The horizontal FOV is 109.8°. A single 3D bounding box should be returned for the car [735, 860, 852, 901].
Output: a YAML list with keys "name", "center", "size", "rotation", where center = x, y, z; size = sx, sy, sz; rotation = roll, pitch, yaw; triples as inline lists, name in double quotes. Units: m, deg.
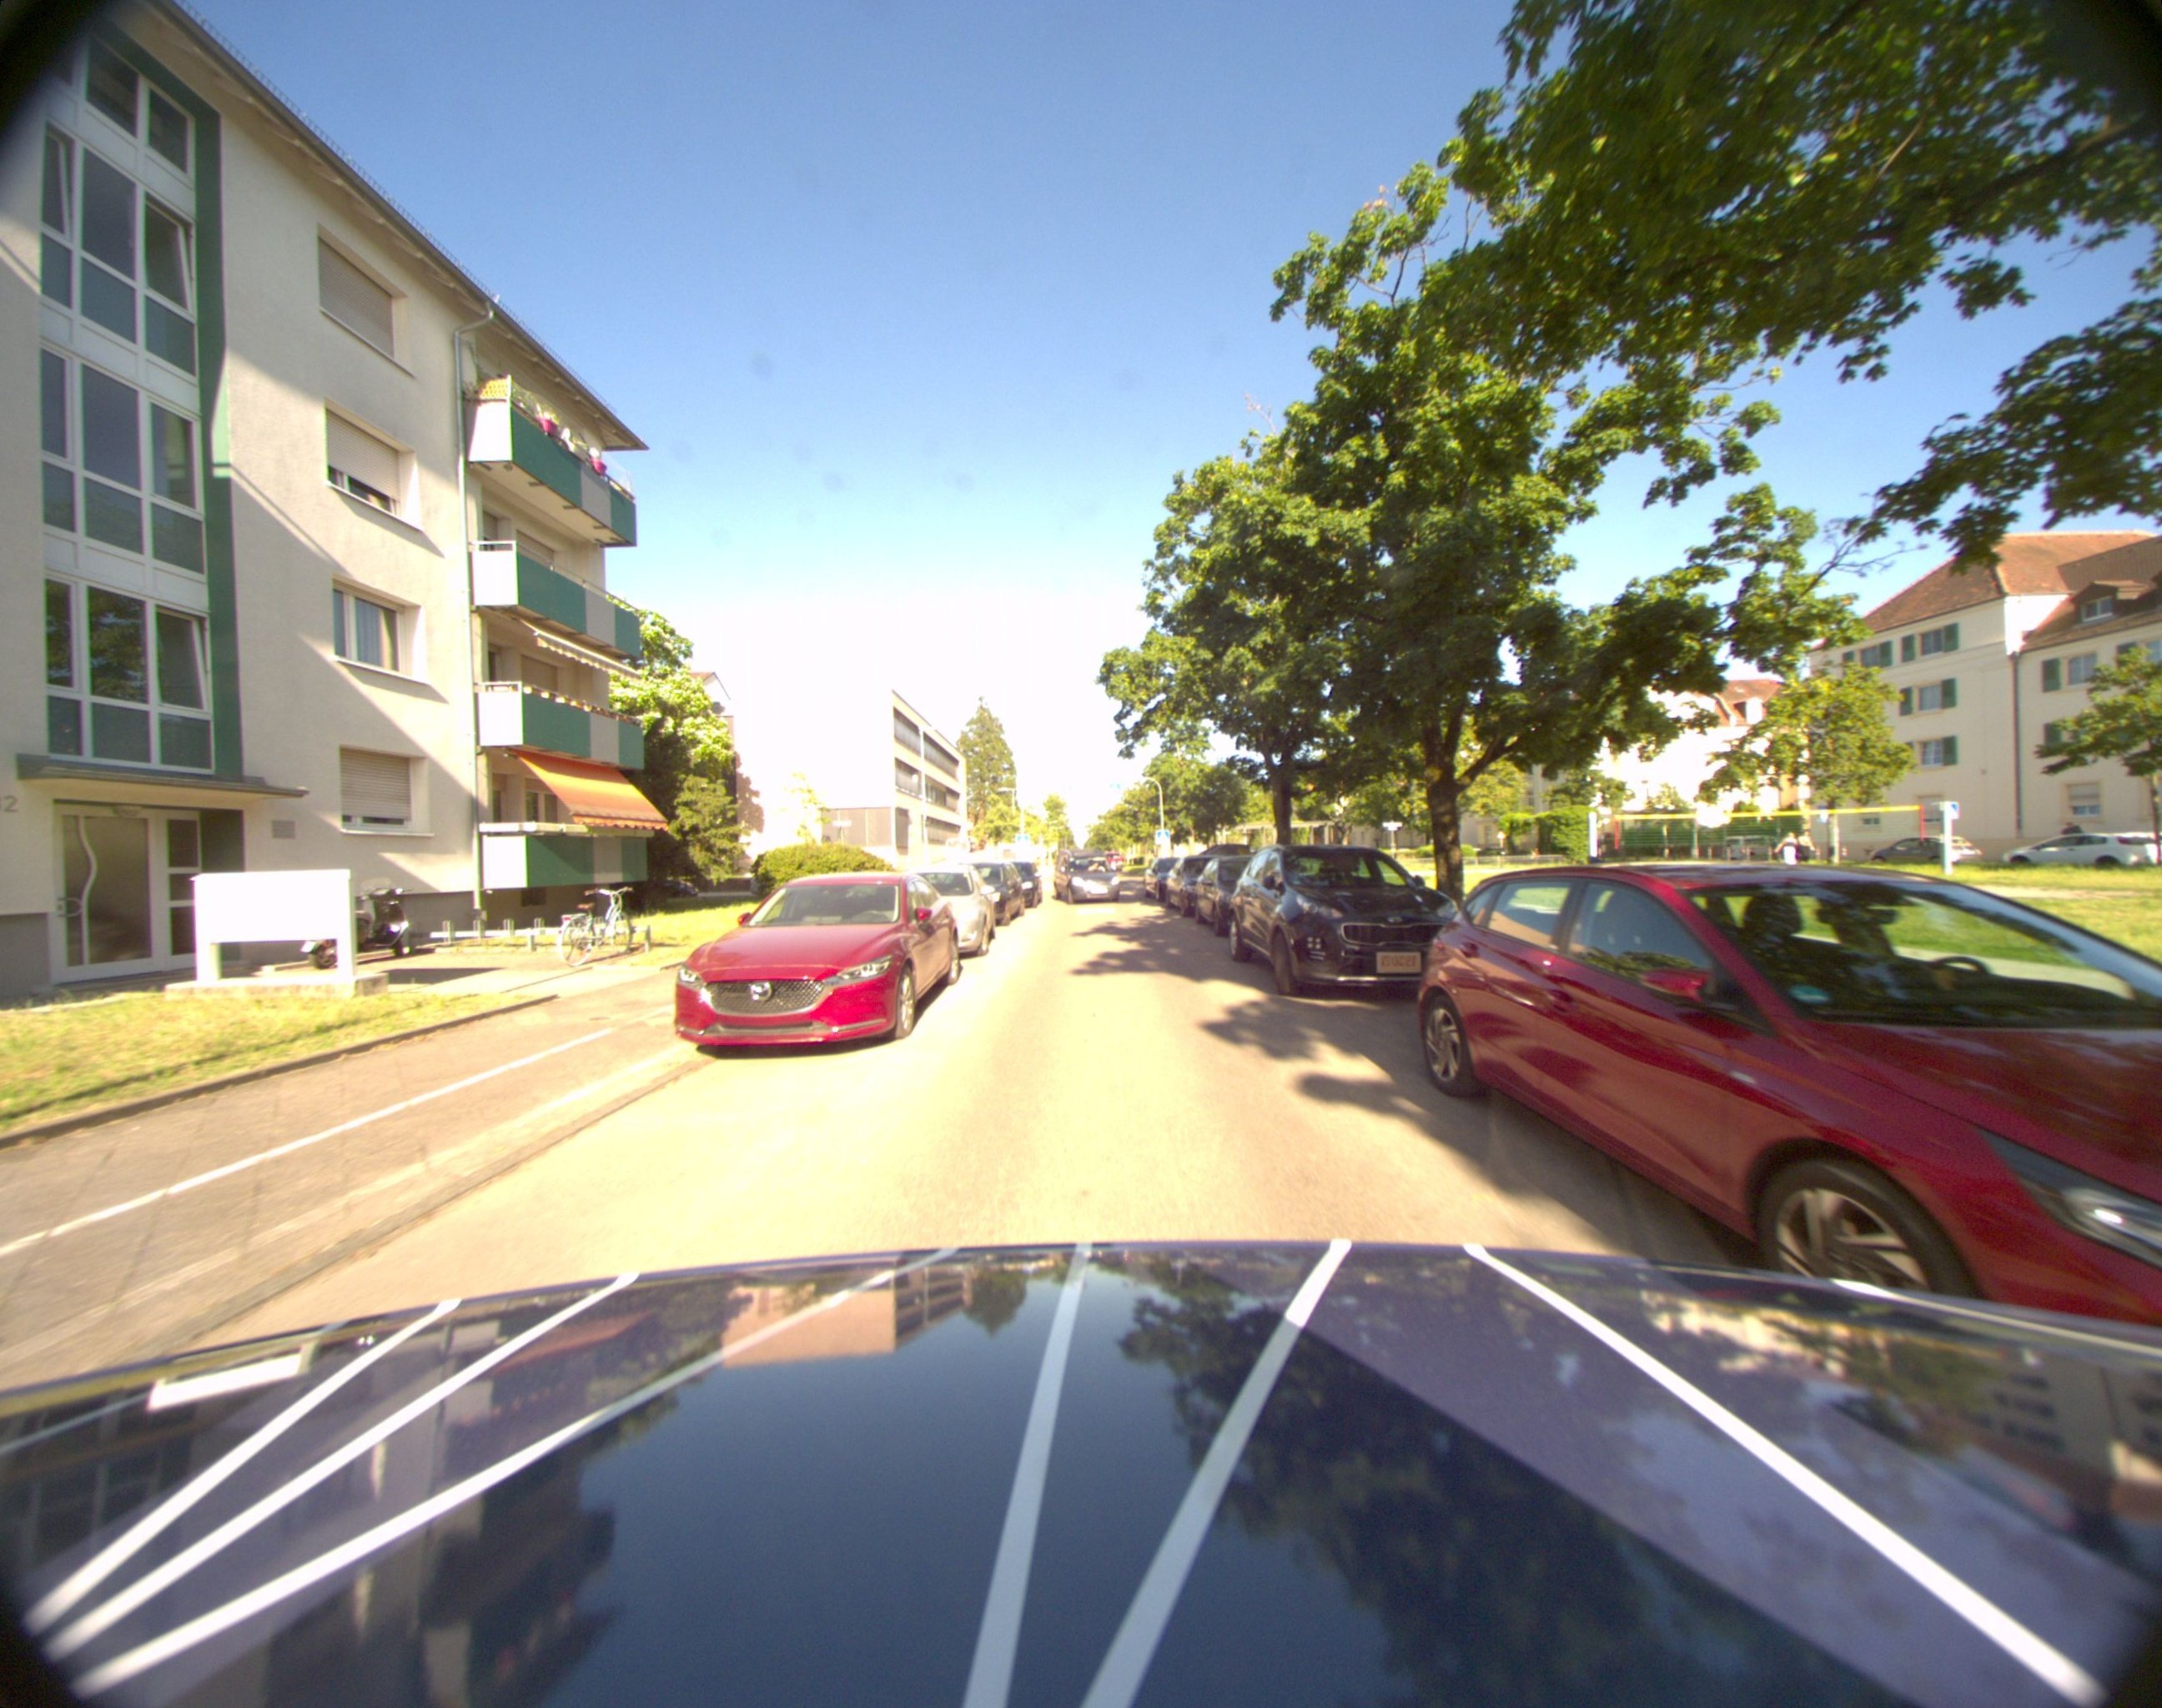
- name: "car"
  center: [-12.633, 1.155, 33.633]
  size: [4.419, 1.614, 1.914]
  rotation: [-2, 0, -2]

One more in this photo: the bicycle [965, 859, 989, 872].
- name: "bicycle"
  center: [-9.324, 1.014, 68.306]
  size: [2.030, 1.057, 0.883]
  rotation: [1, 1, 0]

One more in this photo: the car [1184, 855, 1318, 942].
- name: "car"
  center: [3.206, 0.776, 15.073]
  size: [1.885, 1.411, 3.803]
  rotation: [-1, 1, 1]

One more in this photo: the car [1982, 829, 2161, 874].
- name: "car"
  center: [37.695, -0.099, 28.915]
  size: [1.793, 1.574, 4.235]
  rotation: [-2, 0, 0]

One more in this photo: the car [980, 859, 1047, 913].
- name: "car"
  center: [-2.087, 0.961, 24.414]
  size: [1.662, 1.465, 3.792]
  rotation: [-3, 0, 1]

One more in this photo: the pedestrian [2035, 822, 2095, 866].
- name: "pedestrian"
  center: [45.563, -0.457, 35.199]
  size: [1.343, 1.952, 1.163]
  rotation: [-2, 1, -5]

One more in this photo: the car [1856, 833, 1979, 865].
- name: "car"
  center: [37.592, -0.223, 34.263]
  size: [1.654, 1.325, 3.514]
  rotation: [-2, 0, -1]

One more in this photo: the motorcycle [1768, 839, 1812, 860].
- name: "motorcycle"
  center: [46.394, -0.288, 49.756]
  size: [0.818, 1.297, 2.145]
  rotation: [-2, 0, -1]

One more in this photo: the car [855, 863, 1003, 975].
- name: "car"
  center: [-2.460, 0.985, 13.407]
  size: [1.878, 1.525, 4.492]
  rotation: [-2, 0, -3]

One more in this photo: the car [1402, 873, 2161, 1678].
- name: "car"
  center: [2.901, 0.868, 3.071]
  size: [1.542, 1.420, 4.087]
  rotation: [-2, 0, 1]

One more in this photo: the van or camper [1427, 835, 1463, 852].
- name: "van or camper"
  center: [43.483, -1.239, 90.924]
  size: [2.273, 2.002, 4.373]
  rotation: [-2, 1, 1]

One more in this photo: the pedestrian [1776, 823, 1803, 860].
- name: "pedestrian"
  center: [32.457, -0.583, 34.819]
  size: [0.545, 1.675, 0.750]
  rotation: [-2, 1, 2]

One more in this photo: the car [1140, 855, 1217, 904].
- name: "car"
  center: [3.182, 0.780, 25.795]
  size: [1.840, 1.444, 4.967]
  rotation: [-1, 0, -2]

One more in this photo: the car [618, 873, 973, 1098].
- name: "car"
  center: [-2.456, 1.033, 8.120]
  size: [1.848, 1.464, 5.065]
  rotation: [-2, 0, 0]

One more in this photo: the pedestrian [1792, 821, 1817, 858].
- name: "pedestrian"
  center: [33.147, -0.650, 34.816]
  size: [0.544, 1.675, 0.674]
  rotation: [-2, 1, 5]

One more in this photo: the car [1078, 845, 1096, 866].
- name: "car"
  center: [0.766, 0.135, 97.590]
  size: [2.074, 2.583, 6.203]
  rotation: [-2, 0, 2]

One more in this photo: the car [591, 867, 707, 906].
- name: "car"
  center: [-18.967, 1.406, 33.481]
  size: [3.981, 1.502, 1.823]
  rotation: [-2, 0, -1]

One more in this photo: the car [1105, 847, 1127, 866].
- name: "car"
  center: [3.640, 0.209, 78.232]
  size: [2.021, 1.867, 4.741]
  rotation: [-2, 0, 4]

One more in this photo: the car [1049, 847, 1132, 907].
- name: "car"
  center: [0.210, 0.700, 25.370]
  size: [1.904, 1.779, 4.152]
  rotation: [-2, 0, -11]

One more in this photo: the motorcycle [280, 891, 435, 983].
- name: "motorcycle"
  center: [-10.795, 1.189, 11.447]
  size: [0.584, 1.144, 2.036]
  rotation: [-2, 1, -8]

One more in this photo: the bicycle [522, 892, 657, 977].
- name: "bicycle"
  center: [-7.395, 1.175, 11.555]
  size: [0.721, 1.071, 1.896]
  rotation: [-2, 0, 2]

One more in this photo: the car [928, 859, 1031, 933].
- name: "car"
  center: [-2.388, 0.943, 18.942]
  size: [1.774, 1.520, 4.558]
  rotation: [-2, 0, 2]

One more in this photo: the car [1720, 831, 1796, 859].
- name: "car"
  center: [50.667, -0.656, 56.945]
  size: [3.812, 1.944, 2.043]
  rotation: [-2, 0, 2]

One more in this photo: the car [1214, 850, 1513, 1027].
- name: "car"
  center: [2.997, 0.769, 9.338]
  size: [2.031, 1.616, 4.757]
  rotation: [0, 0, 2]

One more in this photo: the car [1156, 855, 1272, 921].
- name: "car"
  center: [3.331, 0.780, 20.138]
  size: [1.999, 1.507, 5.157]
  rotation: [0, 0, -2]

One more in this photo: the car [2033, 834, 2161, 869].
- name: "car"
  center: [43.327, -0.117, 31.868]
  size: [1.773, 1.348, 4.000]
  rotation: [-2, 0, 0]
